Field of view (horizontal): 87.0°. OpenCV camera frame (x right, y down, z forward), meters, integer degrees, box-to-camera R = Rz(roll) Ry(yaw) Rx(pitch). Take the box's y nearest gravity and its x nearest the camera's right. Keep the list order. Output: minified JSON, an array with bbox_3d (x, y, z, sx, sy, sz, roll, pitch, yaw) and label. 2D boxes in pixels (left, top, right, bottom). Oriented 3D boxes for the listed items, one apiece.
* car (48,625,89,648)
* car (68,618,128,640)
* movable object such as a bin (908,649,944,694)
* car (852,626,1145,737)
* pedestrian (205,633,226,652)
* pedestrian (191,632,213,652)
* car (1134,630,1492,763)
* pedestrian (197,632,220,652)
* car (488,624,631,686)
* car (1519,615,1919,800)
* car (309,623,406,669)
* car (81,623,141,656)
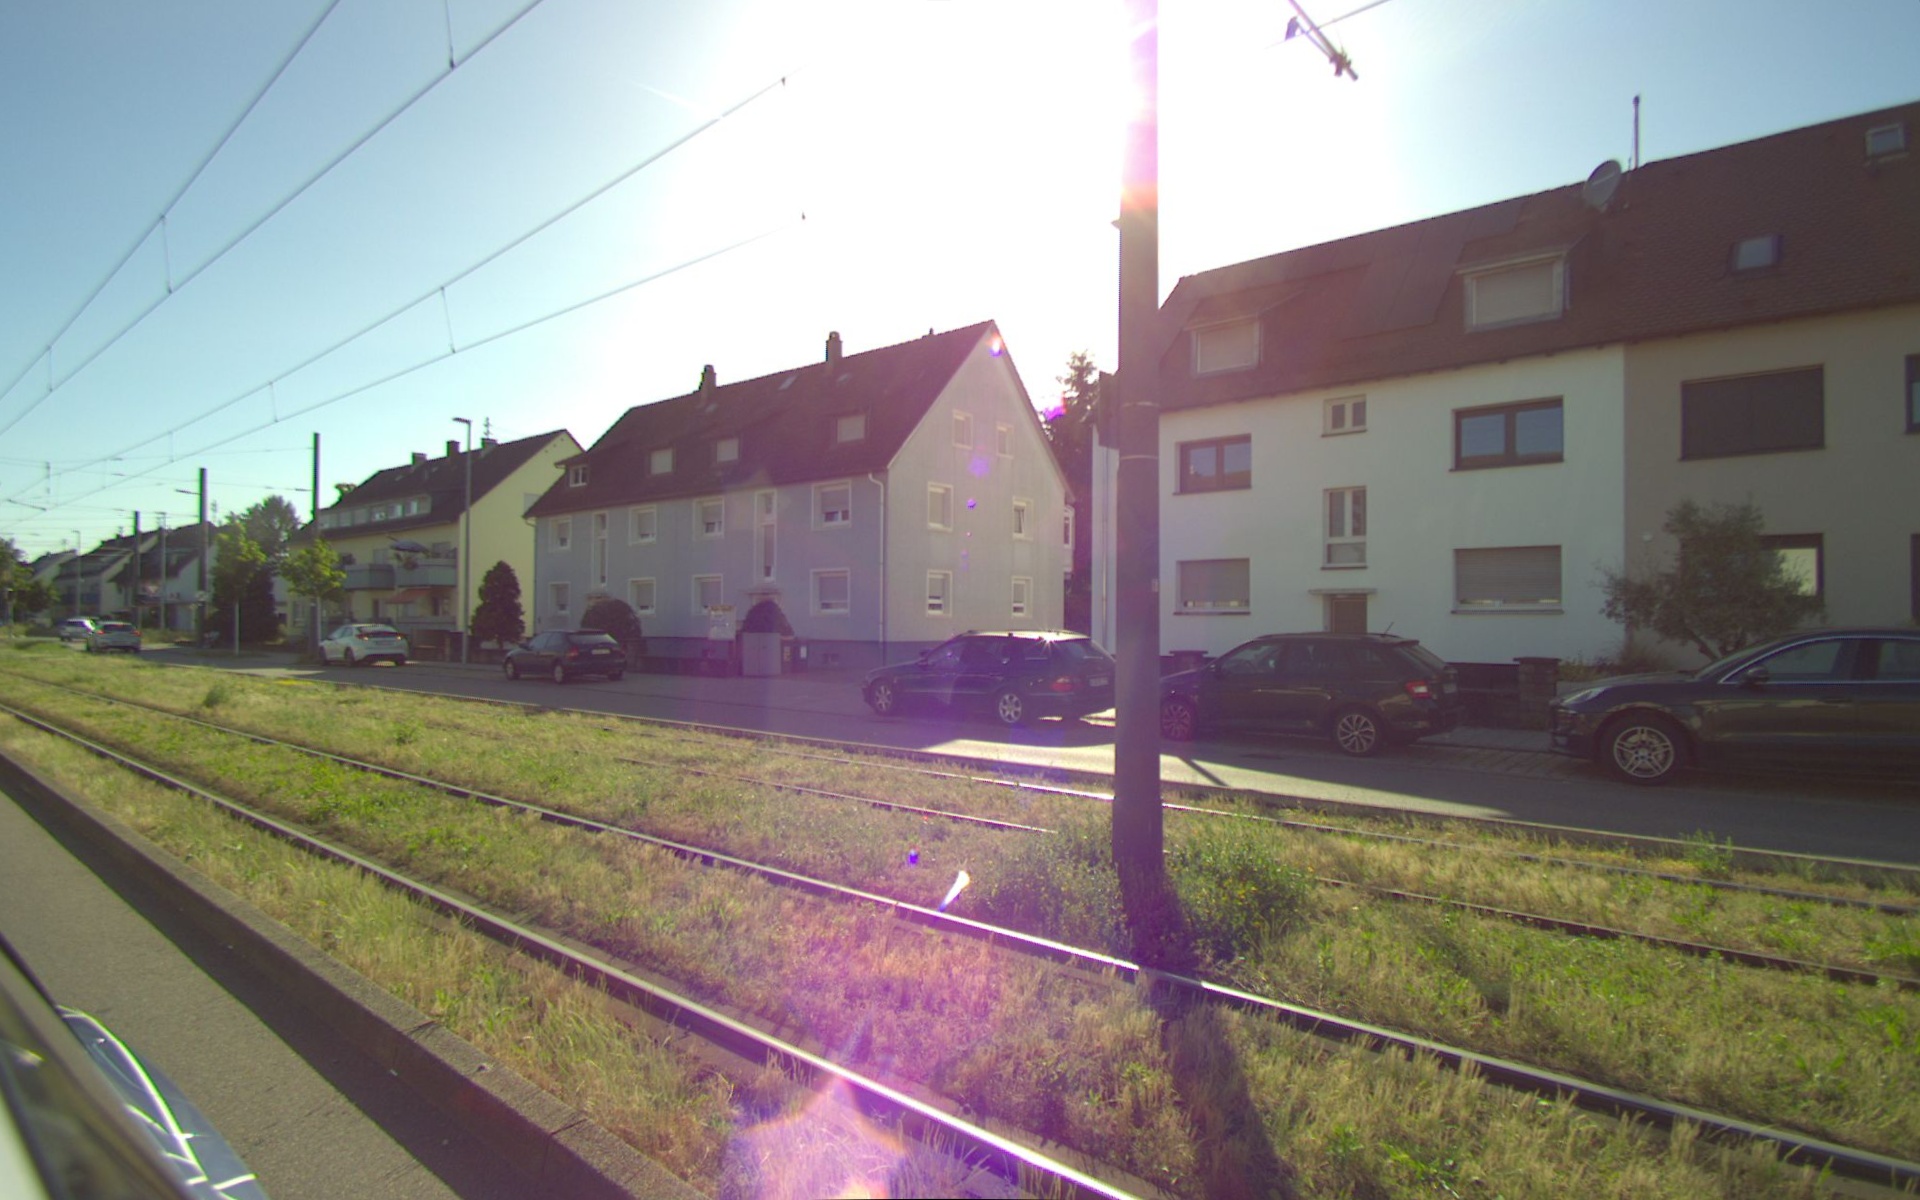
[{"bbox_3d":[-57.698,2.346,65.494,3.657,1.422,1.533,-1,-2,41],"label":"car"},{"bbox_3d":[-64.833,2.207,76.194,1.800,1.591,4.010,1,-2,-13],"label":"car"},{"bbox_3d":[-0.738,1.548,21.930,0.703,0.934,0.384,0,-2,39],"label":"movable object such as a bin"},{"bbox_3d":[0.496,1.228,16.832,4.881,1.534,1.856,-1,-1,43],"label":"car"},{"bbox_3d":[-41.092,2.334,55.881,0.590,1.013,0.720,1,-1,16],"label":"pedestrian"},{"bbox_3d":[-42.442,2.345,56.683,0.687,1.054,0.809,0,-2,37],"label":"pedestrian"},{"bbox_3d":[4.494,1.135,13.325,4.199,1.486,1.504,-2,-2,41],"label":"car"},{"bbox_3d":[-41.719,2.344,56.214,0.619,1.073,0.818,1,-1,7],"label":"pedestrian"},{"bbox_3d":[-10.513,1.380,26.455,4.164,1.474,1.771,-1,-2,41],"label":"car"},{"bbox_3d":[8.351,0.966,9.923,4.805,1.609,1.786,-1,-2,38],"label":"car"},{"bbox_3d":[-21.052,1.564,35.307,4.212,1.529,1.675,-1,-2,41],"label":"car"},{"bbox_3d":[-41.844,1.923,49.849,4.023,1.502,1.690,1,-1,41],"label":"car"}]
